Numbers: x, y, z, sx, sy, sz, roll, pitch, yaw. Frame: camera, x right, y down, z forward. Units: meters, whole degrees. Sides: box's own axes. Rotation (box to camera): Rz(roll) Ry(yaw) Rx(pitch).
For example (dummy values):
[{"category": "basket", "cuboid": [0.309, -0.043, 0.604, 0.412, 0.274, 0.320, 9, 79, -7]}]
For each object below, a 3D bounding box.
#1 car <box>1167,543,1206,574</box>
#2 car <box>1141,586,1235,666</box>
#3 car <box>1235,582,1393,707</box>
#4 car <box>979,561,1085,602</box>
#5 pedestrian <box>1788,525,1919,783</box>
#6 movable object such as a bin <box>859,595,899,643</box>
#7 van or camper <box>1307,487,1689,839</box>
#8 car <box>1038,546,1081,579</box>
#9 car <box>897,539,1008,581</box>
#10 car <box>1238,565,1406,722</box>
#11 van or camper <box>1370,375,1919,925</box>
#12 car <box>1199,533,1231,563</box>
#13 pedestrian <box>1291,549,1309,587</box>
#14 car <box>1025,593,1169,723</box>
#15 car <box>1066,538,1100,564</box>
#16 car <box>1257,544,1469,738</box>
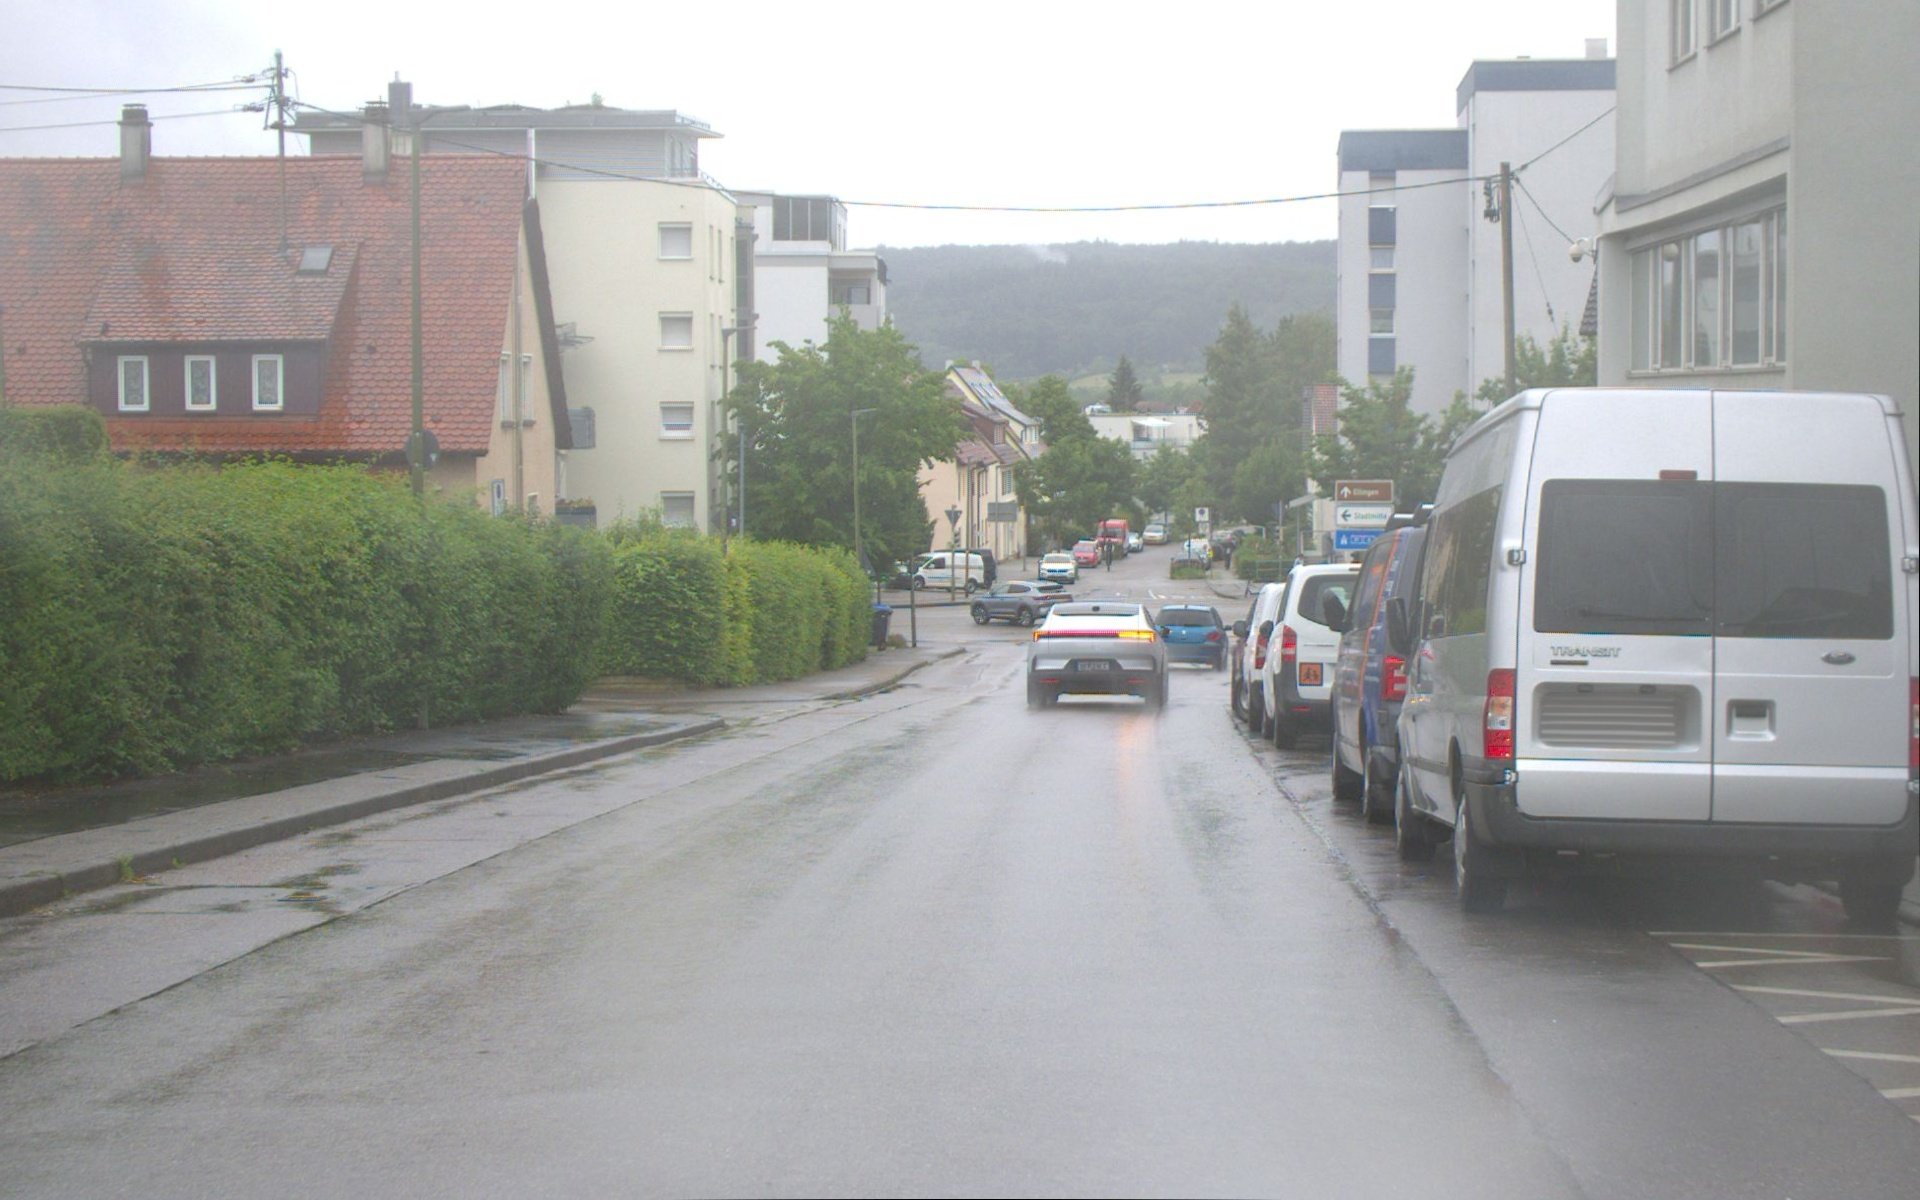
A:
[{"category": "car", "cuboid": [12.713, -2.339, 192.619, 2.146, 1.583, 4.127, -1, 1, 4]}, {"category": "car", "cuboid": [5.295, 0.575, 80.156, 1.993, 1.678, 4.000, -1, 2, 2]}, {"category": "car", "cuboid": [4.853, 0.582, 47.731, 1.994, 1.639, 4.957, 0, 0, 4]}, {"category": "car", "cuboid": [2.741, -0.716, 131.464, 1.885, 1.520, 3.999, -2, 2, -39]}, {"category": "pedestrian", "cuboid": [6.470, 0.359, 24.187, 1.023, 1.752, 1.031, -1, 1, 1]}, {"category": "movable object such as a bin", "cuboid": [-2.340, 0.548, 99.251, 1.071, 1.343, 1.319, 1, 0, 1]}, {"category": "van or camper", "cuboid": [3.523, 0.363, 23.443, 1.994, 2.106, 5.202, -1, 0, 3]}, {"category": "car", "cuboid": [5.208, -1.972, 179.322, 1.994, 1.620, 4.191, -1, 1, 4]}, {"category": "car", "cuboid": [-0.352, -1.870, 160.014, 4.829, 1.829, 2.000, -2, 2, -34]}, {"category": "car", "cuboid": [4.412, 0.511, 42.424, 1.878, 1.827, 4.488, 0, 0, 4]}, {"category": "van or camper", "cuboid": [3.226, 0.185, 16.888, 1.994, 2.235, 5.440, -1, 0, 3]}, {"category": "car", "cuboid": [15.873, -3.236, 214.114, 1.902, 1.739, 4.191, -1, 1, 4]}, {"category": "pedestrian", "cuboid": [14.869, -1.413, 150.495, 0.647, 1.641, 0.526, 2, 1, -2]}, {"category": "car", "cuboid": [1.993, 0.818, 50.481, 1.993, 1.678, 4.000, -1, 2, 2]}, {"category": "car", "cuboid": [7.732, -3.062, 215.683, 1.902, 1.553, 4.191, -1, 1, 4]}, {"category": "car", "cuboid": [4.231, 0.411, 36.743, 1.994, 1.928, 4.975, 0, 0, 4]}]
